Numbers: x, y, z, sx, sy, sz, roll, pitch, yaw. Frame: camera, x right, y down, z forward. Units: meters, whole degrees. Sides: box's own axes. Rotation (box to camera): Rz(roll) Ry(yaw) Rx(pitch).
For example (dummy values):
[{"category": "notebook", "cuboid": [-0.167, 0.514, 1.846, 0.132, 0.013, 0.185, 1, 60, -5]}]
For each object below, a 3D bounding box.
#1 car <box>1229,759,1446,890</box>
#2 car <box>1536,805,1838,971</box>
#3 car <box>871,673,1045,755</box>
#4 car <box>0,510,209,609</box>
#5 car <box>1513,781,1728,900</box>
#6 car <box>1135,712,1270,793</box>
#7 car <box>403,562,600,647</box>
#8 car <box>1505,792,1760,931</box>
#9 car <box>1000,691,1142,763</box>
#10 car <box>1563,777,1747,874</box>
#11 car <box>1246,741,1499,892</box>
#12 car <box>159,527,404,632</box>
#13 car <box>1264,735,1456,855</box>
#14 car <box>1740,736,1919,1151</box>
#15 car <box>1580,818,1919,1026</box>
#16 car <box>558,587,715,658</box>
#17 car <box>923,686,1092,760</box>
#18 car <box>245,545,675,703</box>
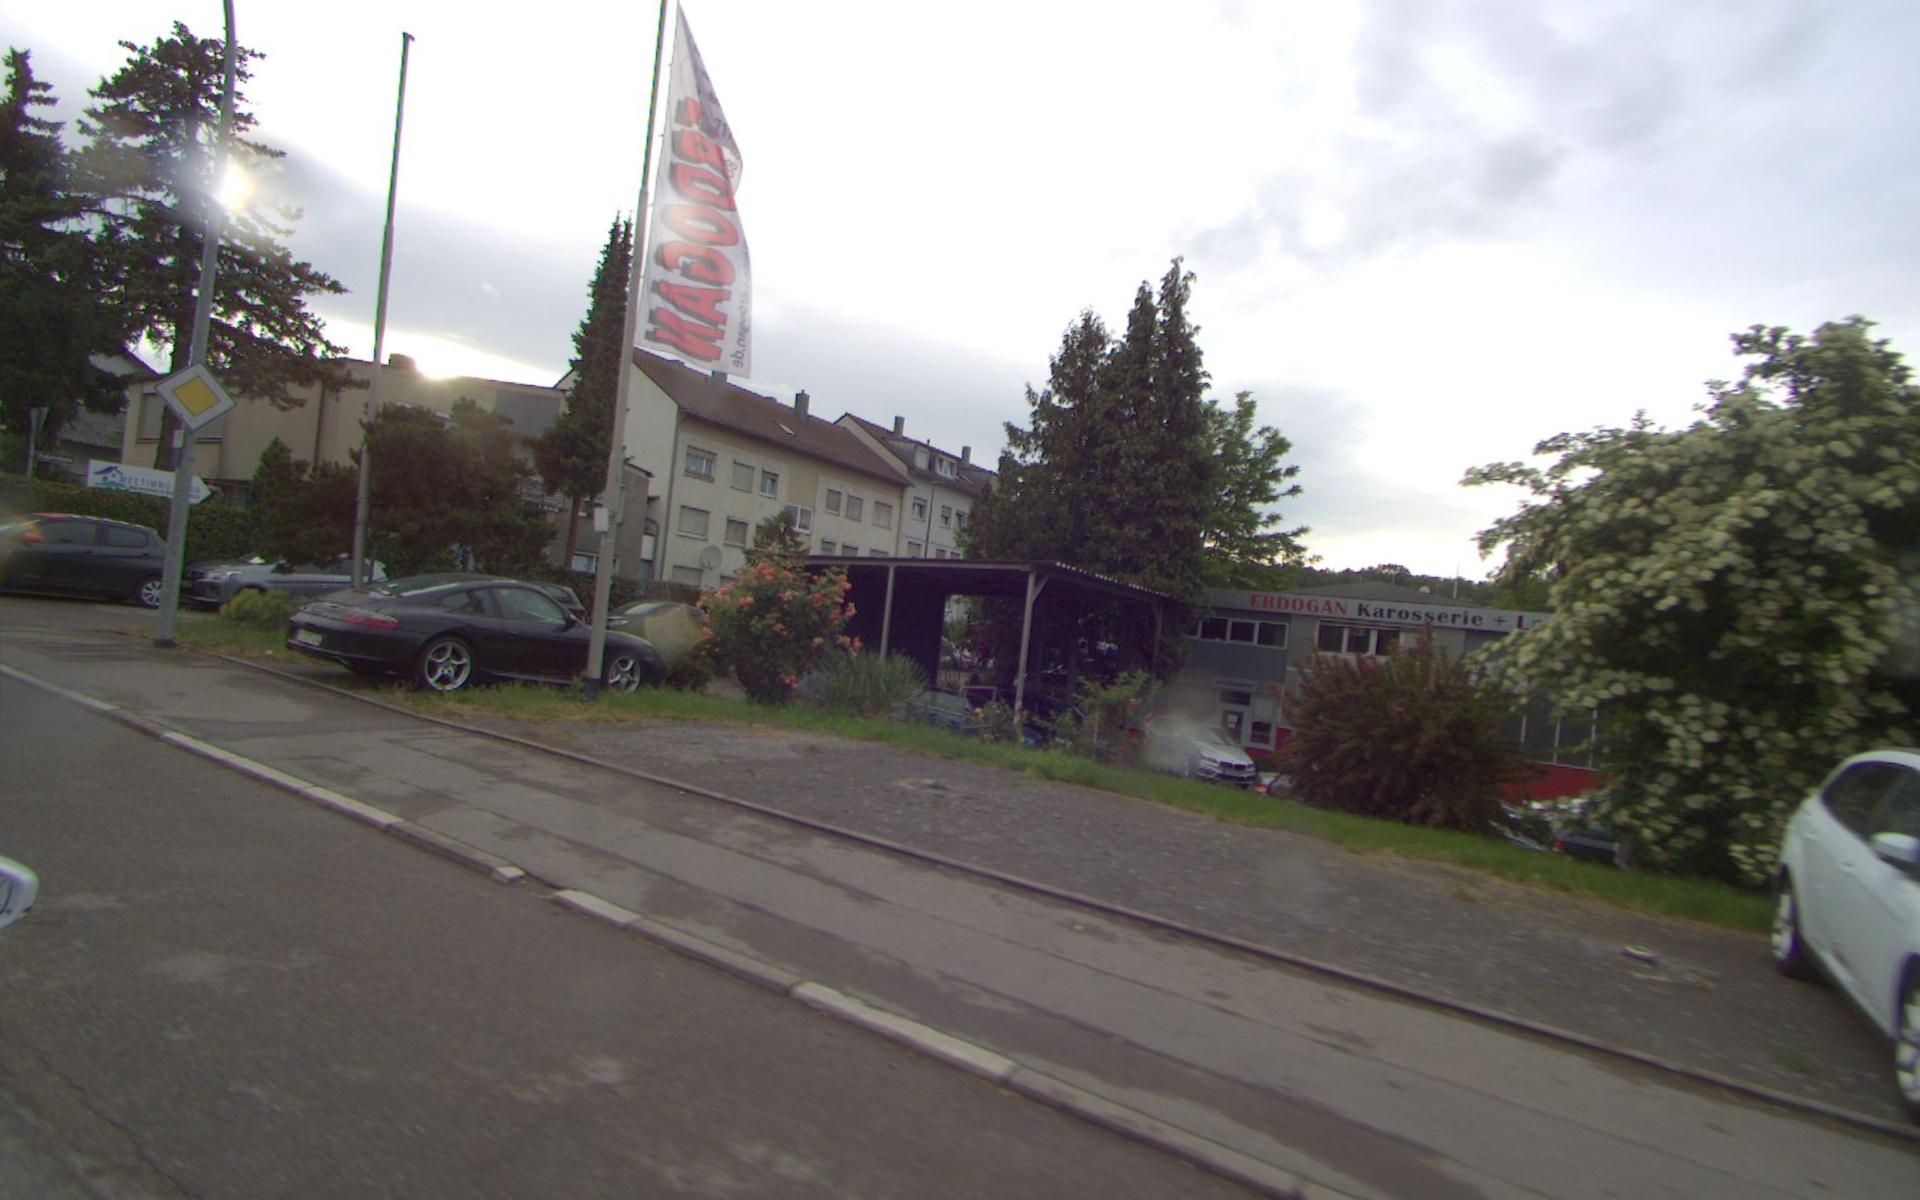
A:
[{"category": "car", "cuboid": [6.590, 3.821, 17.567, 3.226, 1.492, 1.710, 6, -2, 29]}, {"category": "car", "cuboid": [10.910, 4.282, 15.421, 3.469, 1.492, 1.667, 6, -2, 31]}, {"category": "car", "cuboid": [-0.049, 2.556, 22.758, 3.494, 1.280, 1.591, 6, -3, 25]}, {"category": "car", "cuboid": [-15.685, -0.774, 17.232, 1.918, 1.280, 3.998, 6, -3, 30]}, {"category": "car", "cuboid": [13.576, 4.901, 20.903, 3.469, 1.576, 1.667, 6, -2, 31]}, {"category": "car", "cuboid": [6.523, 4.098, 27.489, 1.826, 1.522, 3.955, 8, -3, -14]}, {"category": "car", "cuboid": [-11.266, 0.167, 24.988, 1.911, 1.525, 3.955, 6, -3, 30]}, {"category": "car", "cuboid": [11.722, 4.519, 17.795, 3.469, 1.492, 1.667, 6, -2, 31]}, {"category": "car", "cuboid": [3.066, 3.459, 27.673, 3.417, 1.390, 1.732, 6, -3, 23]}, {"category": "car", "cuboid": [16.881, 5.453, 24.656, 3.469, 1.521, 1.667, 6, -2, 31]}, {"category": "car", "cuboid": [6.163, 3.133, 15.067, 3.226, 1.492, 1.622, 6, -2, 29]}, {"category": "car", "cuboid": [-13.817, -0.355, 20.694, 1.828, 1.555, 3.624, 6, -3, 30]}, {"category": "car", "cuboid": [7.907, 3.760, 19.899, 3.226, 1.672, 1.645, 6, -2, 29]}, {"category": "car", "cuboid": [5.202, 1.534, 4.606, 1.871, 1.492, 4.349, 6, -3, 30]}, {"category": "car", "cuboid": [10.304, 4.065, 13.086, 3.594, 1.603, 1.804, 6, -2, 30]}, {"category": "car", "cuboid": [-9.155, 0.679, 28.763, 1.966, 1.492, 3.845, 6, -3, 30]}, {"category": "car", "cuboid": [1.207, 3.043, 25.181, 3.725, 1.248, 1.819, 6, -3, 23]}, {"category": "car", "cuboid": [-5.592, 0.373, 11.761, 1.919, 1.280, 3.995, 6, -3, 33]}]
